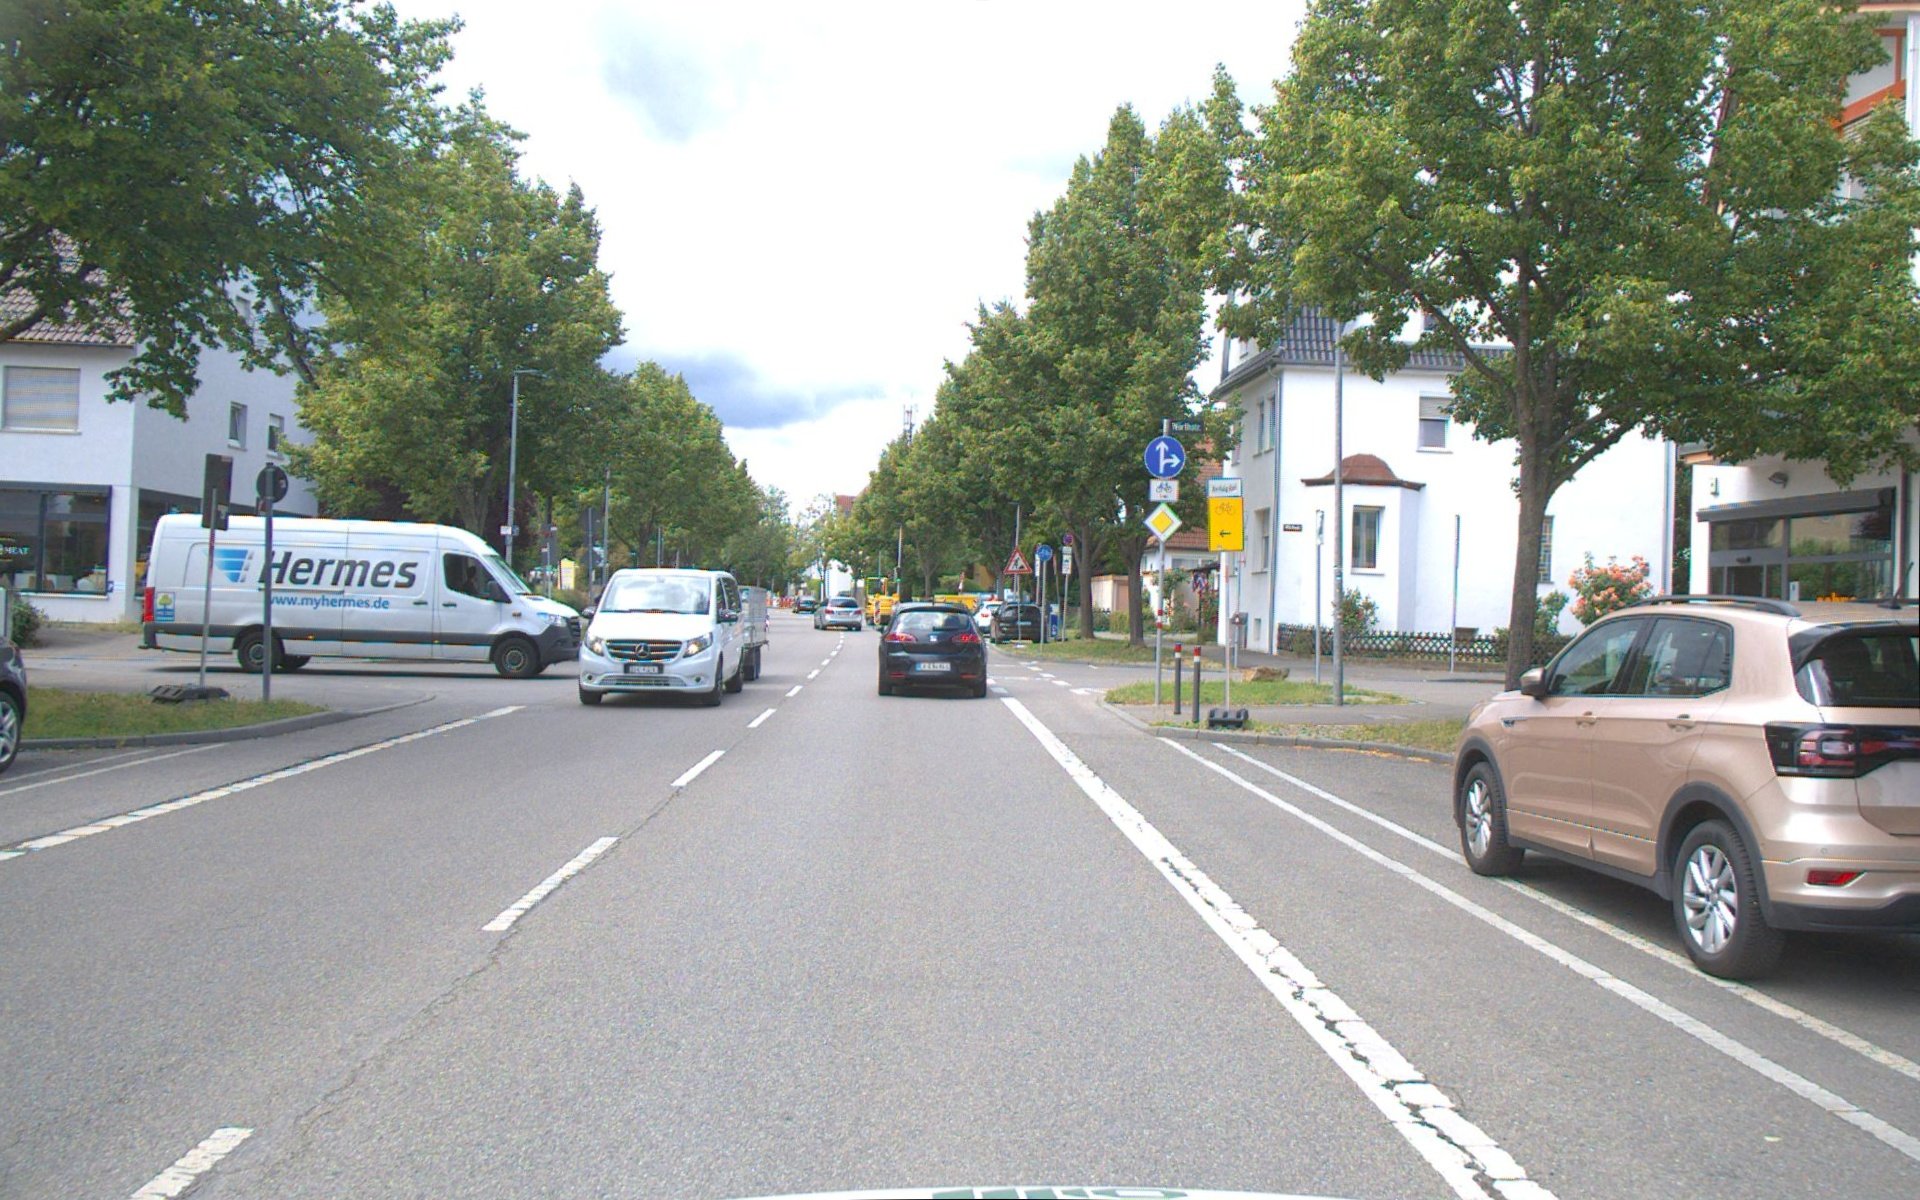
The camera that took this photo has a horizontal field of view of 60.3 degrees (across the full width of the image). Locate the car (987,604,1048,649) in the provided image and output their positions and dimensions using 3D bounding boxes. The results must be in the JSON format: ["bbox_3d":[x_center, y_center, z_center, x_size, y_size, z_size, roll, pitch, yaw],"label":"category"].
[{"bbox_3d":[1.967,0.894,57.399,1.672,1.480,4.613,1,0,-3],"label":"car"}]

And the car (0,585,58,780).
[{"bbox_3d":[-8.164,0.620,11.298,1.696,1.494,4.300,1,0,-1],"label":"car"}]

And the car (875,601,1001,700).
[{"bbox_3d":[-0.426,0.763,26.791,1.783,1.463,3.736,1,0,-5],"label":"car"}]

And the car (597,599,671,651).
[{"bbox_3d":[-9.597,0.720,48.897,1.610,1.445,4.017,1,0,-3],"label":"car"}]

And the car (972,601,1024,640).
[{"bbox_3d":[1.521,0.823,67.180,1.639,1.488,3.996,1,0,-5],"label":"car"}]

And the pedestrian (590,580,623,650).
[{"bbox_3d":[-8.783,0.363,41.080,0.531,1.710,0.751,3,1,6],"label":"pedestrian"}]

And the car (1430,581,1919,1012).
[{"bbox_3d":[3.910,0.750,8.268,1.688,1.608,4.057,1,0,-4],"label":"car"}]

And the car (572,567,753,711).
[{"bbox_3d":[-4.215,0.517,24.173,1.927,1.862,4.816,1,0,-2],"label":"car"}]

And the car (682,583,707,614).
[{"bbox_3d":[-23.714,-0.112,147.405,2.055,2.672,5.032,1,0,-10],"label":"car"}]

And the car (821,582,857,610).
[{"bbox_3d":[-7.475,-0.243,102.162,1.759,1.651,3.730,1,0,-11],"label":"car"}]

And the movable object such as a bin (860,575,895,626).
[{"bbox_3d":[-4.473,0.014,89.220,1.733,2.619,3.736,2,0,-5],"label":"movable object such as a bin"}]

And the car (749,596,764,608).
[{"bbox_3d":[-26.009,0.245,211.045,1.776,1.440,3.686,1,0,-8],"label":"car"}]

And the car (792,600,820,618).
[{"bbox_3d":[-12.259,0.687,131.463,1.778,1.399,3.681,1,0,-13],"label":"car"}]

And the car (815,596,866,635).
[{"bbox_3d":[-5.445,0.686,74.795,1.871,1.715,3.730,1,0,-11],"label":"car"}]

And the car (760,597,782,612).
[{"bbox_3d":[-19.437,0.449,169.797,1.779,1.440,3.680,1,0,-14],"label":"car"}]

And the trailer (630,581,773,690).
[{"bbox_3d":[-4.418,0.574,28.925,1.899,1.706,4.686,1,0,-2],"label":"trailer"}]

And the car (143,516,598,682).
[{"bbox_3d":[-10.203,0.002,29.190,7.148,2.640,2.217,1,0,-6],"label":"car"}]
